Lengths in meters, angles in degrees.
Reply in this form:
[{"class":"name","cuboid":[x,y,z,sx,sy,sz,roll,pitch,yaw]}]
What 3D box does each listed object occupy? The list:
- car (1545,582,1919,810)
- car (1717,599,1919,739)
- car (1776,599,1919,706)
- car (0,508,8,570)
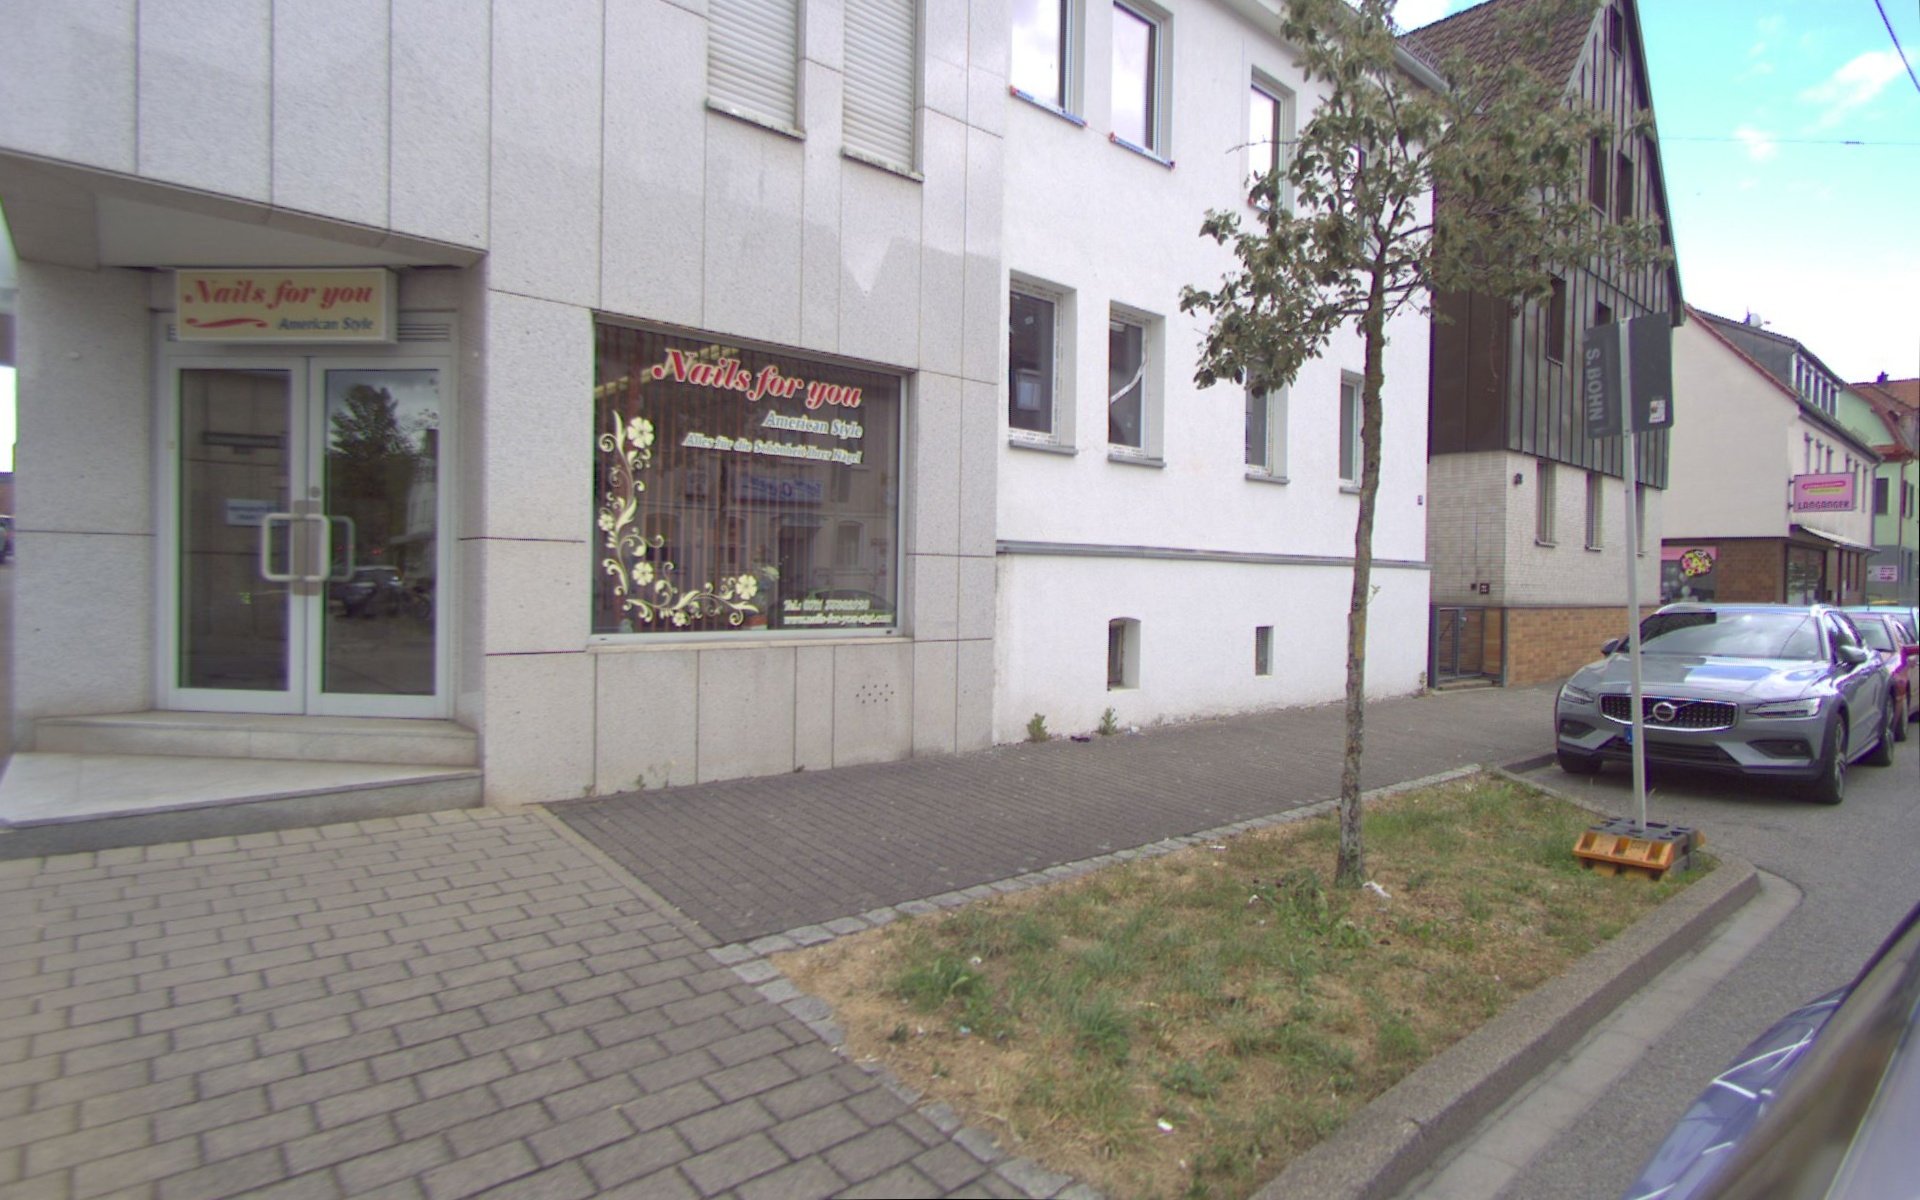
[{"class":"car","cuboid":[7.089,0.644,9.092,4.434,1.559,1.879,0,0,-41]},{"class":"car","cuboid":[11.121,0.724,12.723,4.378,1.464,1.757,0,0,-42]},{"class":"car","cuboid":[14.758,0.752,16.301,3.923,1.516,1.834,0,0,-40]},{"class":"car","cuboid":[-28.447,-1.760,28.617,1.932,1.726,4.035,0,0,-40]}]
